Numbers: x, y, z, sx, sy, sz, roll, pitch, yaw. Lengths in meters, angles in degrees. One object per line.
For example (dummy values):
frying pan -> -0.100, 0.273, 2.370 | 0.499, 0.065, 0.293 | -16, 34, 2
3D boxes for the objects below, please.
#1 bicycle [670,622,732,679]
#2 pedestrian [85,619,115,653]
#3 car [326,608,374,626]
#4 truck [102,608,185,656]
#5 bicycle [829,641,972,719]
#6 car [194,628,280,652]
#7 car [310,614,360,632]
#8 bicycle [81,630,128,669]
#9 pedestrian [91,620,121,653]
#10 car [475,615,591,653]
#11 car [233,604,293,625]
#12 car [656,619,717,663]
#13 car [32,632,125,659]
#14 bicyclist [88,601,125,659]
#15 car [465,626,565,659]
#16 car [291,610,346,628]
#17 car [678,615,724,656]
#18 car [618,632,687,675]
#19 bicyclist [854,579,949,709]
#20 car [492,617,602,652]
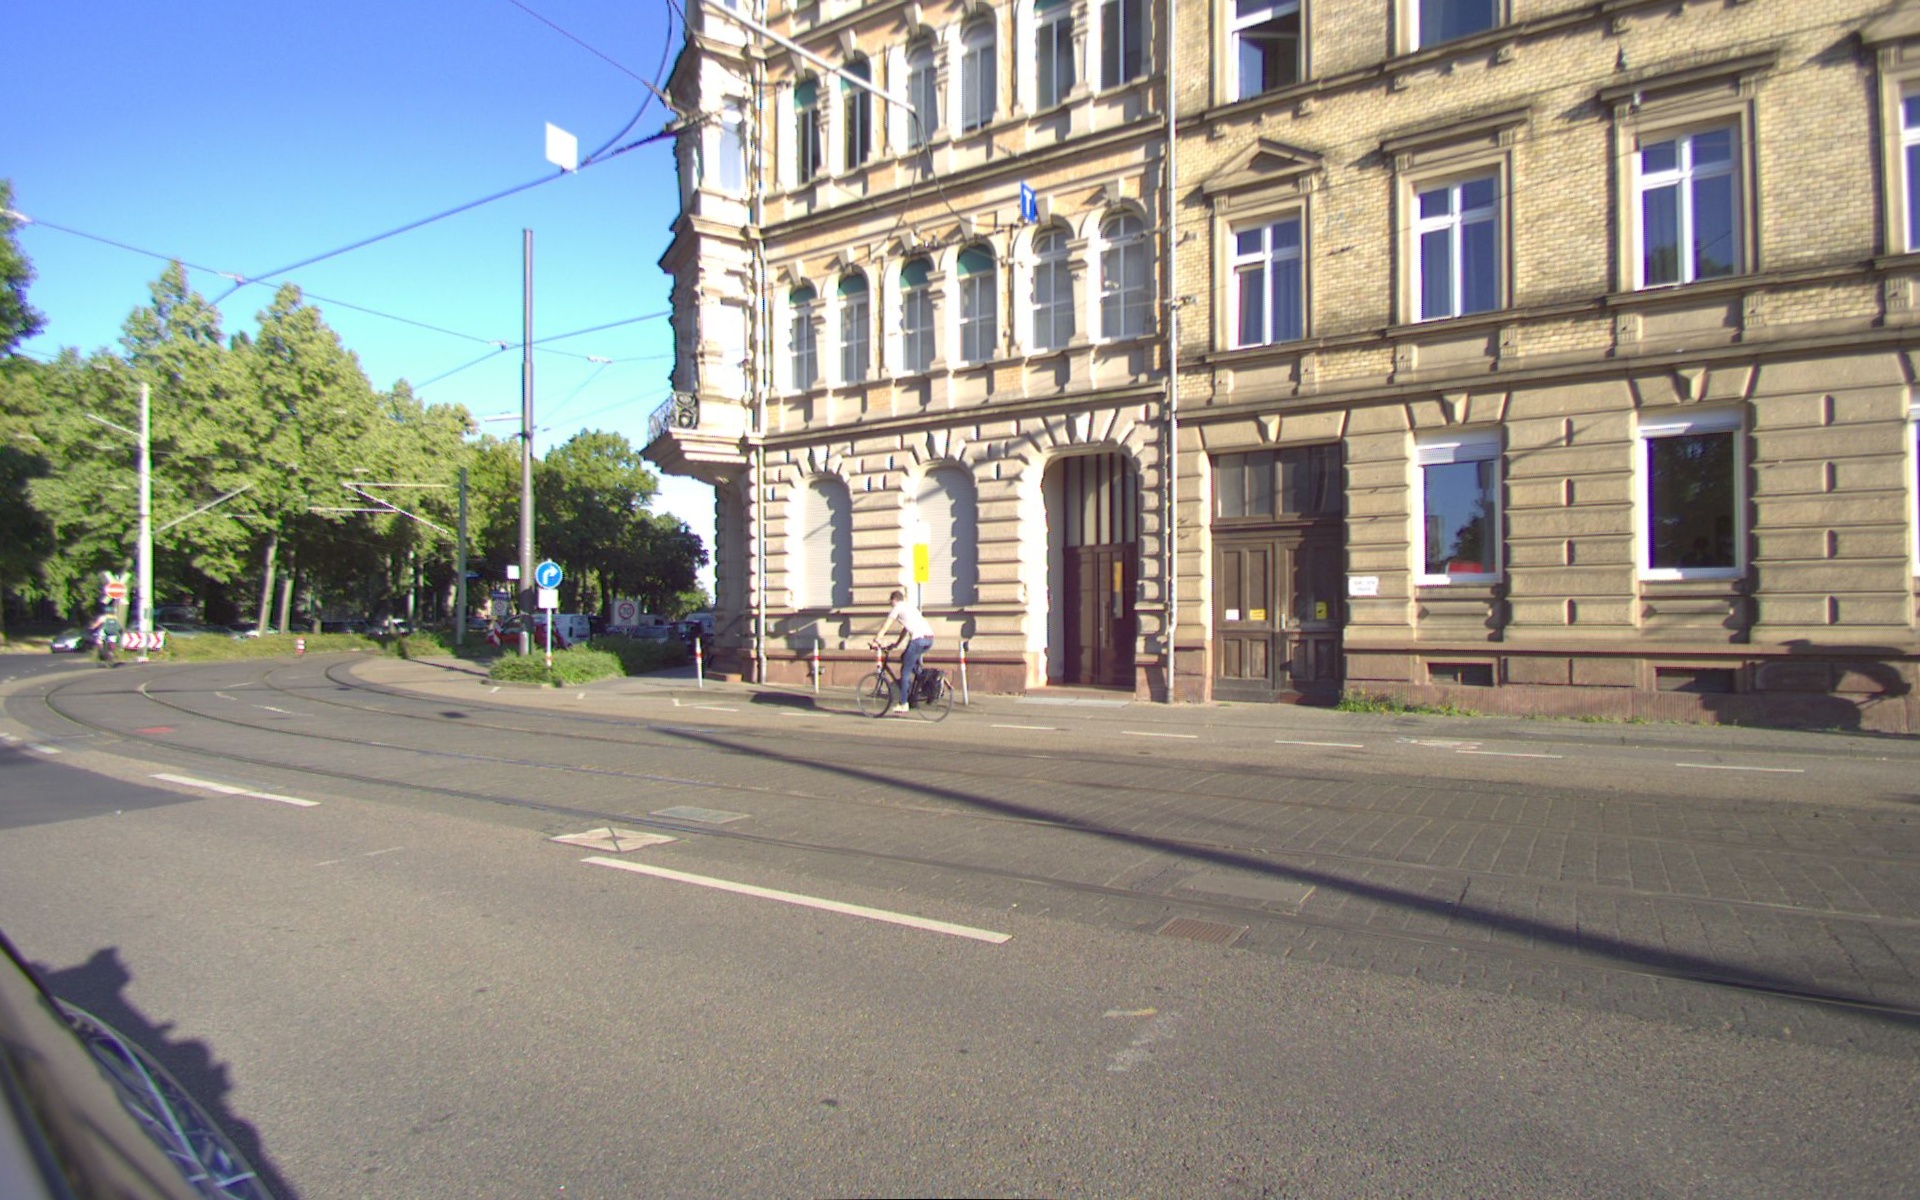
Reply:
bicycle -> -6.080, 1.159, 23.953 | 0.637, 1.276, 2.685 | 0, -2, 3
pedestrian -> -46.310, 1.945, 54.497 | 0.824, 1.781, 0.883 | -1, -2, 20
car -> -63.788, 1.782, 105.877 | 3.950, 1.763, 1.882 | 0, -2, 6
truck -> -49.342, 1.947, 61.308 | 1.967, 2.804, 4.897 | 0, -2, -13
bicycle -> -0.904, 1.160, 15.026 | 2.111, 1.092, 0.720 | -2, -3, 34
car -> -40.535, 2.240, 56.754 | 3.639, 1.364, 1.739 | 0, -2, 3
car -> -63.445, 2.321, 102.786 | 3.950, 1.763, 1.882 | 0, -2, 6
bicycle -> -26.632, 1.533, 31.494 | 1.947, 1.184, 0.604 | -1, -2, 35
pedestrian -> -45.602, 1.942, 54.034 | 0.824, 1.781, 0.883 | -1, -2, 20
car -> -21.109, 1.681, 50.150 | 4.999, 1.802, 1.995 | 0, -2, 8
car -> -62.054, 1.310, 90.134 | 4.399, 1.763, 1.992 | 0, -2, 13
car -> -11.002, 1.631, 40.883 | 1.711, 1.674, 4.004 | 0, -2, -5
car -> -48.516, 2.497, 55.811 | 1.920, 1.409, 4.005 | 0, -2, -6
bicyclist -> -26.505, 0.933, 31.428 | 1.058, 1.776, 0.600 | -1, -2, 34
car -> -20.993, 1.987, 47.786 | 3.953, 1.519, 1.864 | 0, -2, 8
car -> -63.460, 1.875, 100.070 | 4.304, 1.719, 1.996 | 0, -2, 7
car -> -13.126, 1.793, 51.521 | 1.968, 2.029, 4.645 | 0, -2, -10
car -> -10.915, 1.873, 36.125 | 1.711, 1.425, 3.438 | 0, -2, -5
bicyclist -> -0.873, 0.650, 15.022 | 1.209, 1.854, 0.722 | -2, -3, 34
car -> -21.610, 1.810, 53.027 | 4.999, 1.822, 1.995 | 0, -2, 8
